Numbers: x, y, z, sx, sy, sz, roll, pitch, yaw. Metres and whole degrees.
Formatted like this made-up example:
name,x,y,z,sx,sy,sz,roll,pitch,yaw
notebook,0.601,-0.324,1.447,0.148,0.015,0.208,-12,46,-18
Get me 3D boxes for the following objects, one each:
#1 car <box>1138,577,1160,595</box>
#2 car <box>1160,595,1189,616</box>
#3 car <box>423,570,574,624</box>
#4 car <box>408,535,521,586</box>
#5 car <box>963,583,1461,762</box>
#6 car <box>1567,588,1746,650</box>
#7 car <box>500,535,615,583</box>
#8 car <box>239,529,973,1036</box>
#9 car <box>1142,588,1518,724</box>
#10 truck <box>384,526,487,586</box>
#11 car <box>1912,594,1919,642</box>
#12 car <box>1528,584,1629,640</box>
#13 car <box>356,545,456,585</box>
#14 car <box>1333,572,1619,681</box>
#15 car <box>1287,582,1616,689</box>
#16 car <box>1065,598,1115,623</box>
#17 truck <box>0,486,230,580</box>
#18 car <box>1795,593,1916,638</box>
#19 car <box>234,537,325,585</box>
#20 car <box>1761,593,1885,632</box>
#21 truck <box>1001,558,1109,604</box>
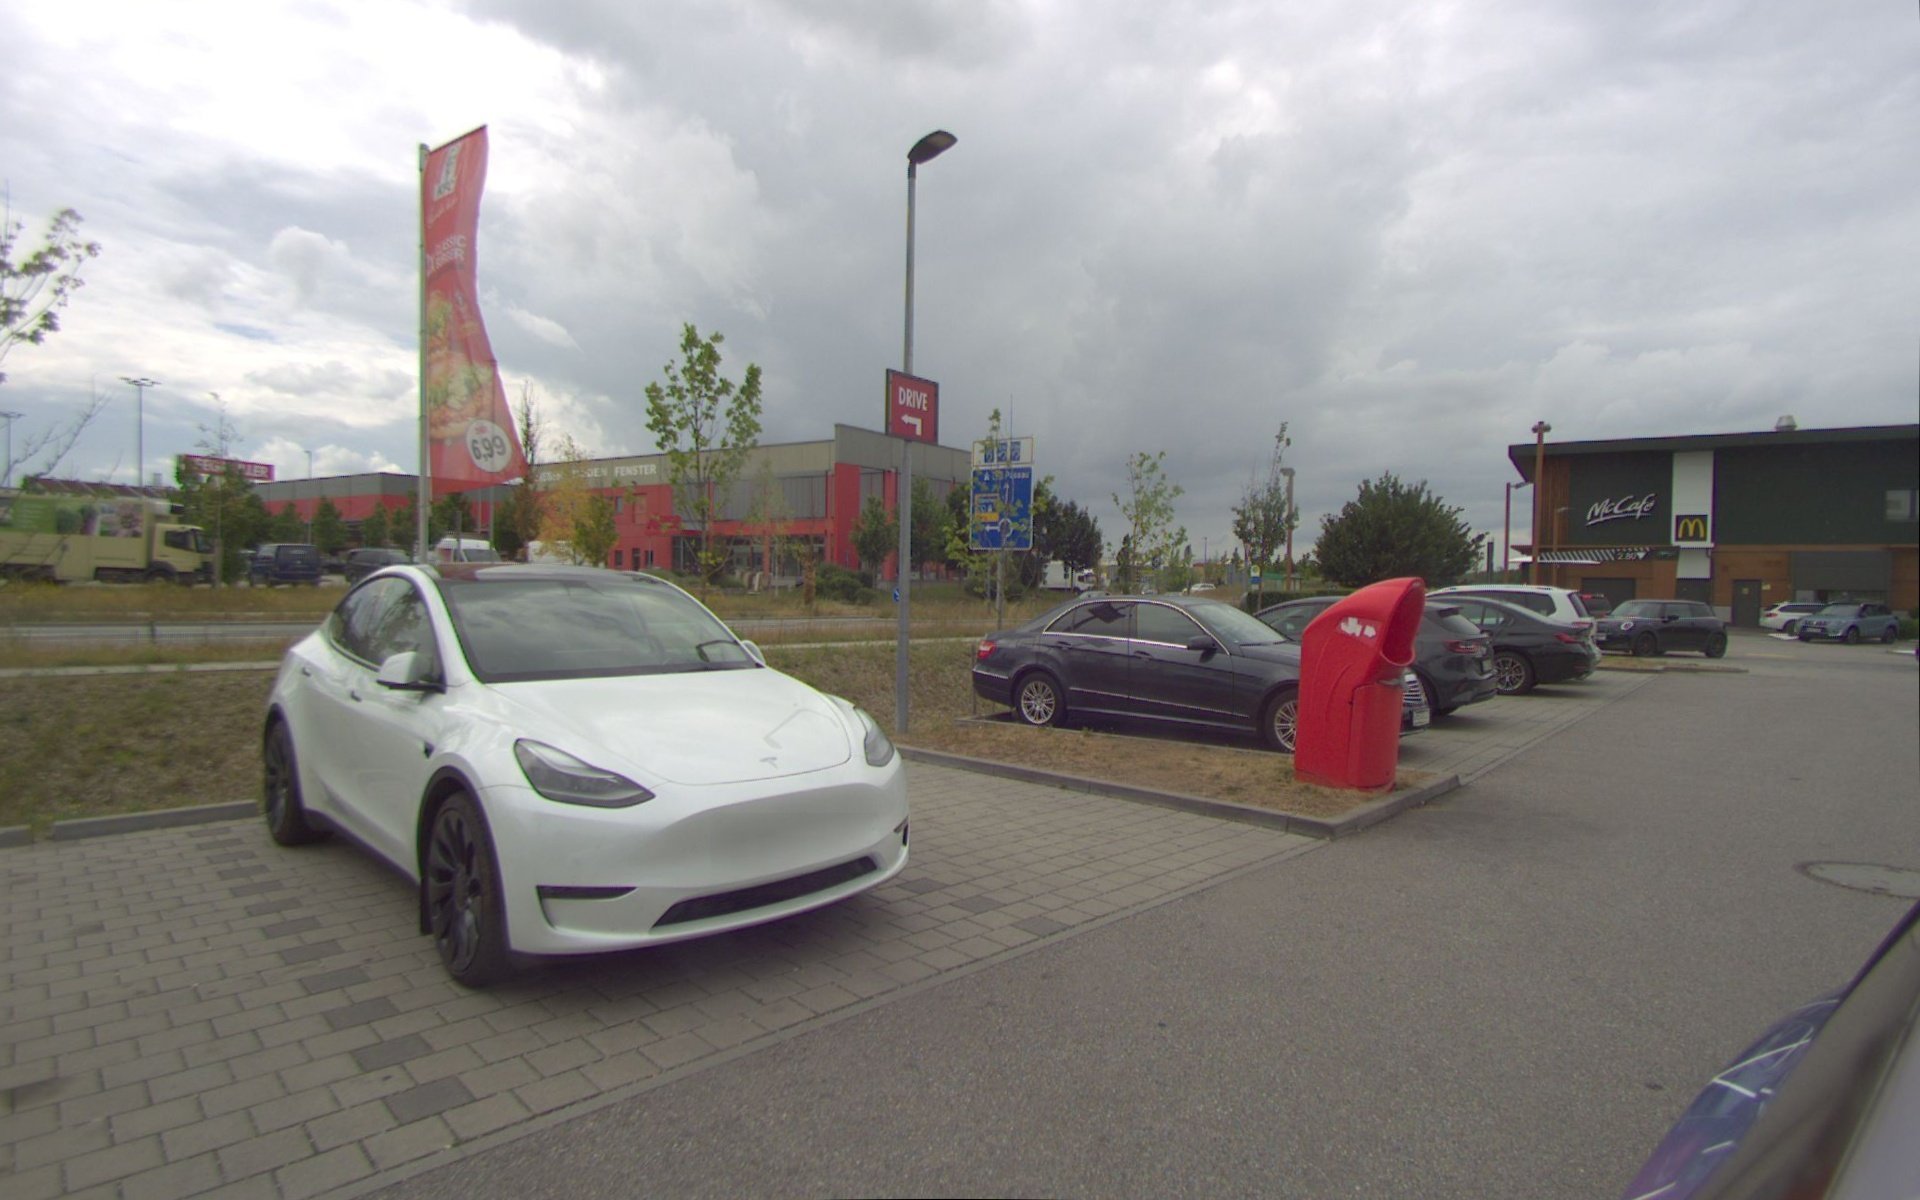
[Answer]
name,x,y,z,sx,sy,sz,roll,pitch,yaw
car,19.130,-1.436,102.402,1.967,1.726,3.992,2,3,9
car,16.815,0.414,79.156,1.732,1.510,4.105,2,0,18
car,-14.026,-0.104,30.893,1.655,1.477,3.861,4,3,42
car,-24.193,-1.958,49.313,6.023,2.241,2.385,4,2,36
car,2.436,0.600,10.579,4.720,1.475,1.884,0,0,40
car,17.610,0.478,25.617,3.847,1.430,1.691,2,0,-17
car,-21.137,-2.156,53.056,6.461,2.295,2.318,4,2,33
car,-2.211,0.570,5.399,4.531,1.560,1.895,0,-1,44
car,4.521,0.599,12.619,4.047,1.430,1.863,0,0,38
truck,-35.774,-3.039,68.926,8.202,3.789,2.624,4,2,34
car,37.794,0.800,37.562,3.916,1.771,2.005,2,2,-21
car,21.567,0.355,35.481,1.785,1.710,4.173,3,2,14
car,-25.708,-1.627,46.893,5.039,1.659,2.051,4,2,36
car,9.257,0.437,18.323,4.348,1.735,1.965,0,-1,38
car,7.803,0.509,16.278,4.491,1.485,1.921,0,0,38
car,8.222,0.664,63.749,1.740,1.510,4.086,2,0,29
truck,-33.456,-2.550,38.846,8.254,3.235,3.037,1,2,-17
car,34.987,0.605,39.555,3.822,1.604,1.755,1,2,-17
car,-29.284,-1.646,43.482,5.049,1.908,2.047,2,1,41
car,39.046,0.526,45.923,3.971,1.524,1.768,3,2,32
truck,10.260,-2.160,110.697,11.961,4.554,3.709,4,3,43
